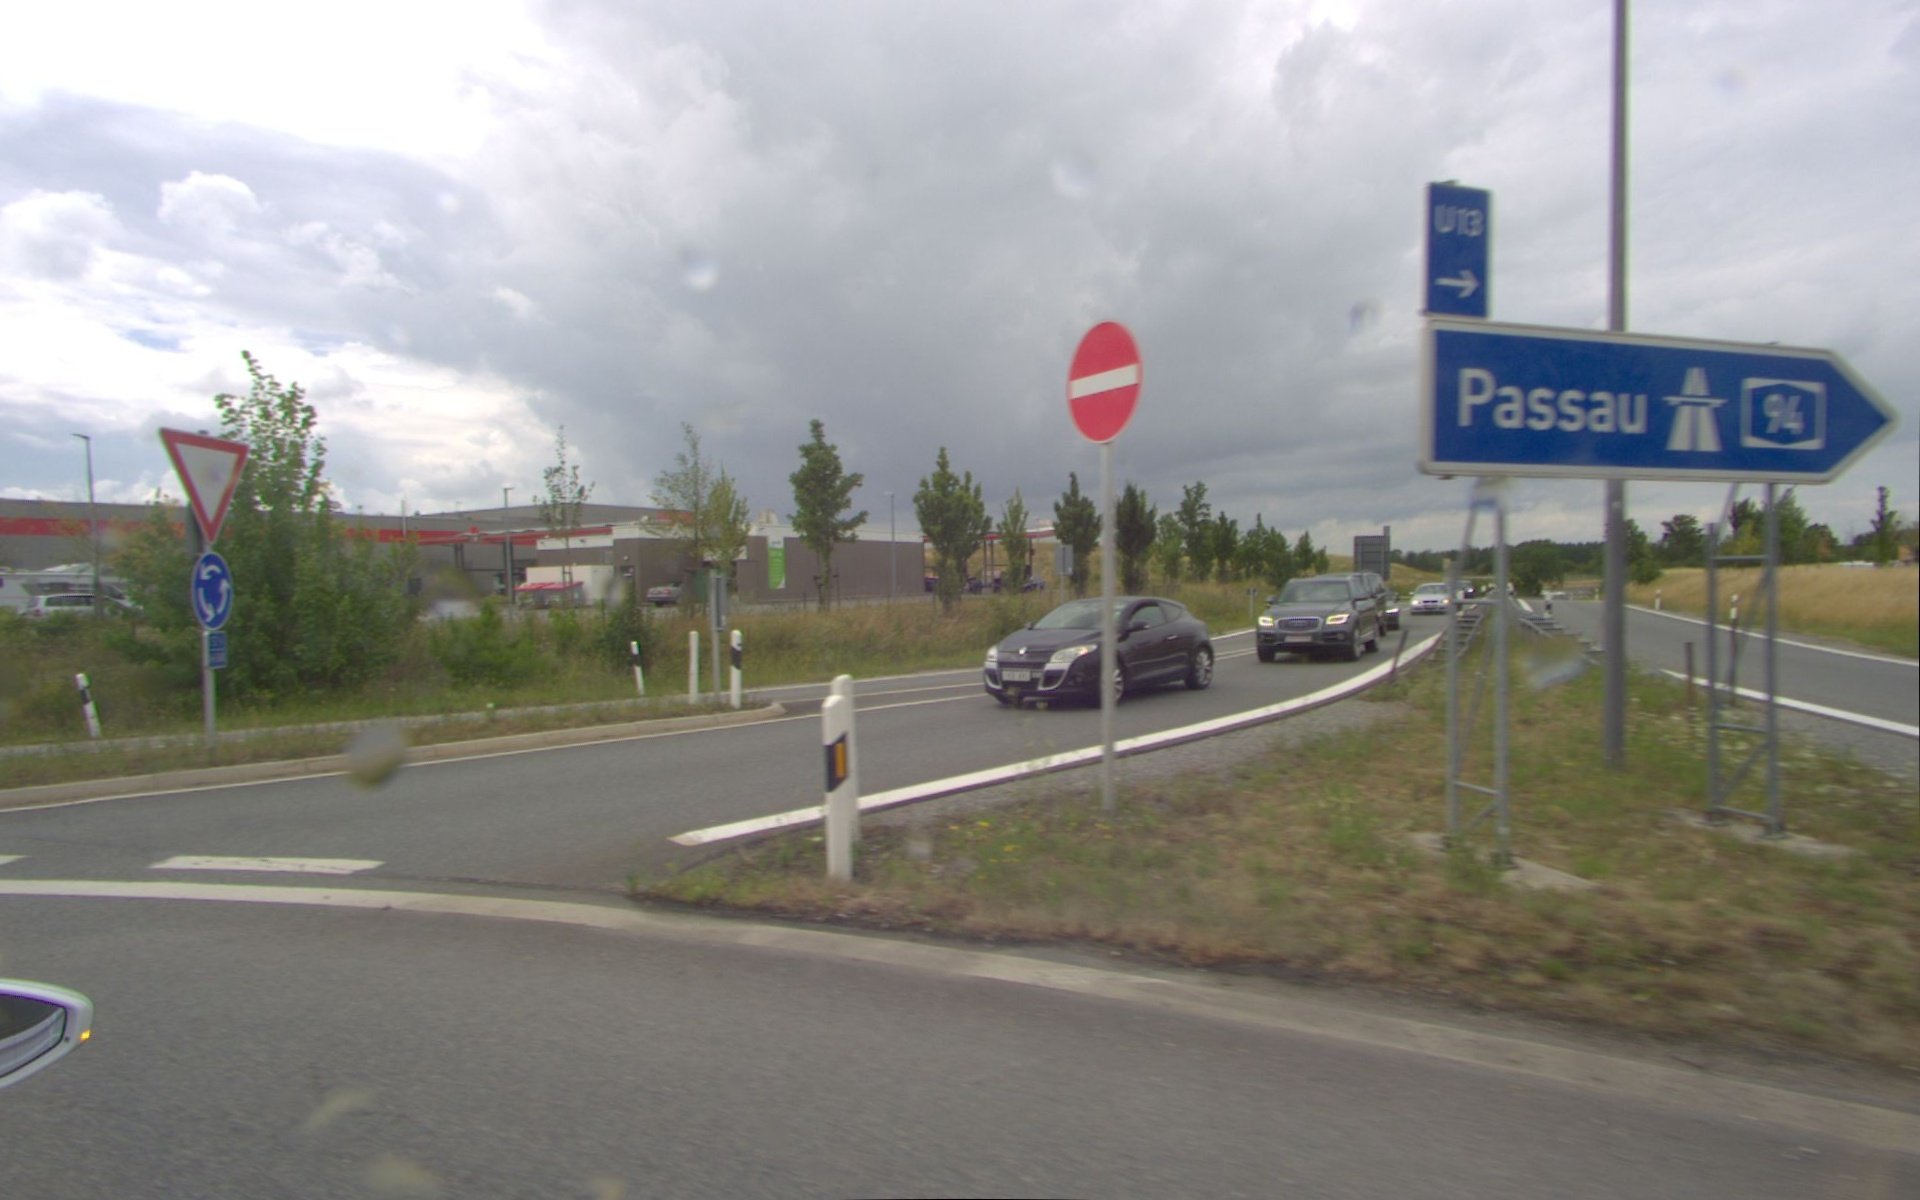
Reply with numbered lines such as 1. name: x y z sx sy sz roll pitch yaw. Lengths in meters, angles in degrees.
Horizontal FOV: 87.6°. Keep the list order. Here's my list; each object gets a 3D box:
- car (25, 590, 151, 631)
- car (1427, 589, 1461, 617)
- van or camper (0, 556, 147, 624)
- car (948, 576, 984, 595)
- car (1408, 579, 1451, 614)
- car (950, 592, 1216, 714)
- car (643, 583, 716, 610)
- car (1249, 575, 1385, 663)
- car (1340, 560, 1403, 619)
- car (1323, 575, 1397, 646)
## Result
1. car: -40.179 0.468 46.231 1.754 1.744 4.039 0 2 32
2. car: 30.360 0.167 62.748 1.736 1.686 3.981 0 1 29
3. van or camper: -45.794 -0.541 49.920 2.454 3.223 7.700 0 2 29
4. car: 0.516 -1.239 87.208 1.770 1.559 3.649 -2 0 25
5. car: 21.765 -0.179 46.348 1.662 1.518 3.983 0 1 27
6. car: 1.853 0.634 13.965 1.821 1.388 4.114 -2 0 38
7. car: -15.579 -0.212 55.825 1.644 1.450 3.984 -1 0 27
8. car: 7.410 0.348 20.528 1.856 1.604 4.255 -2 0 30
9. car: 14.333 -0.363 34.759 1.777 1.908 3.985 -1 0 25
10. car: 10.884 0.244 27.399 1.693 1.744 4.734 -2 0 20
